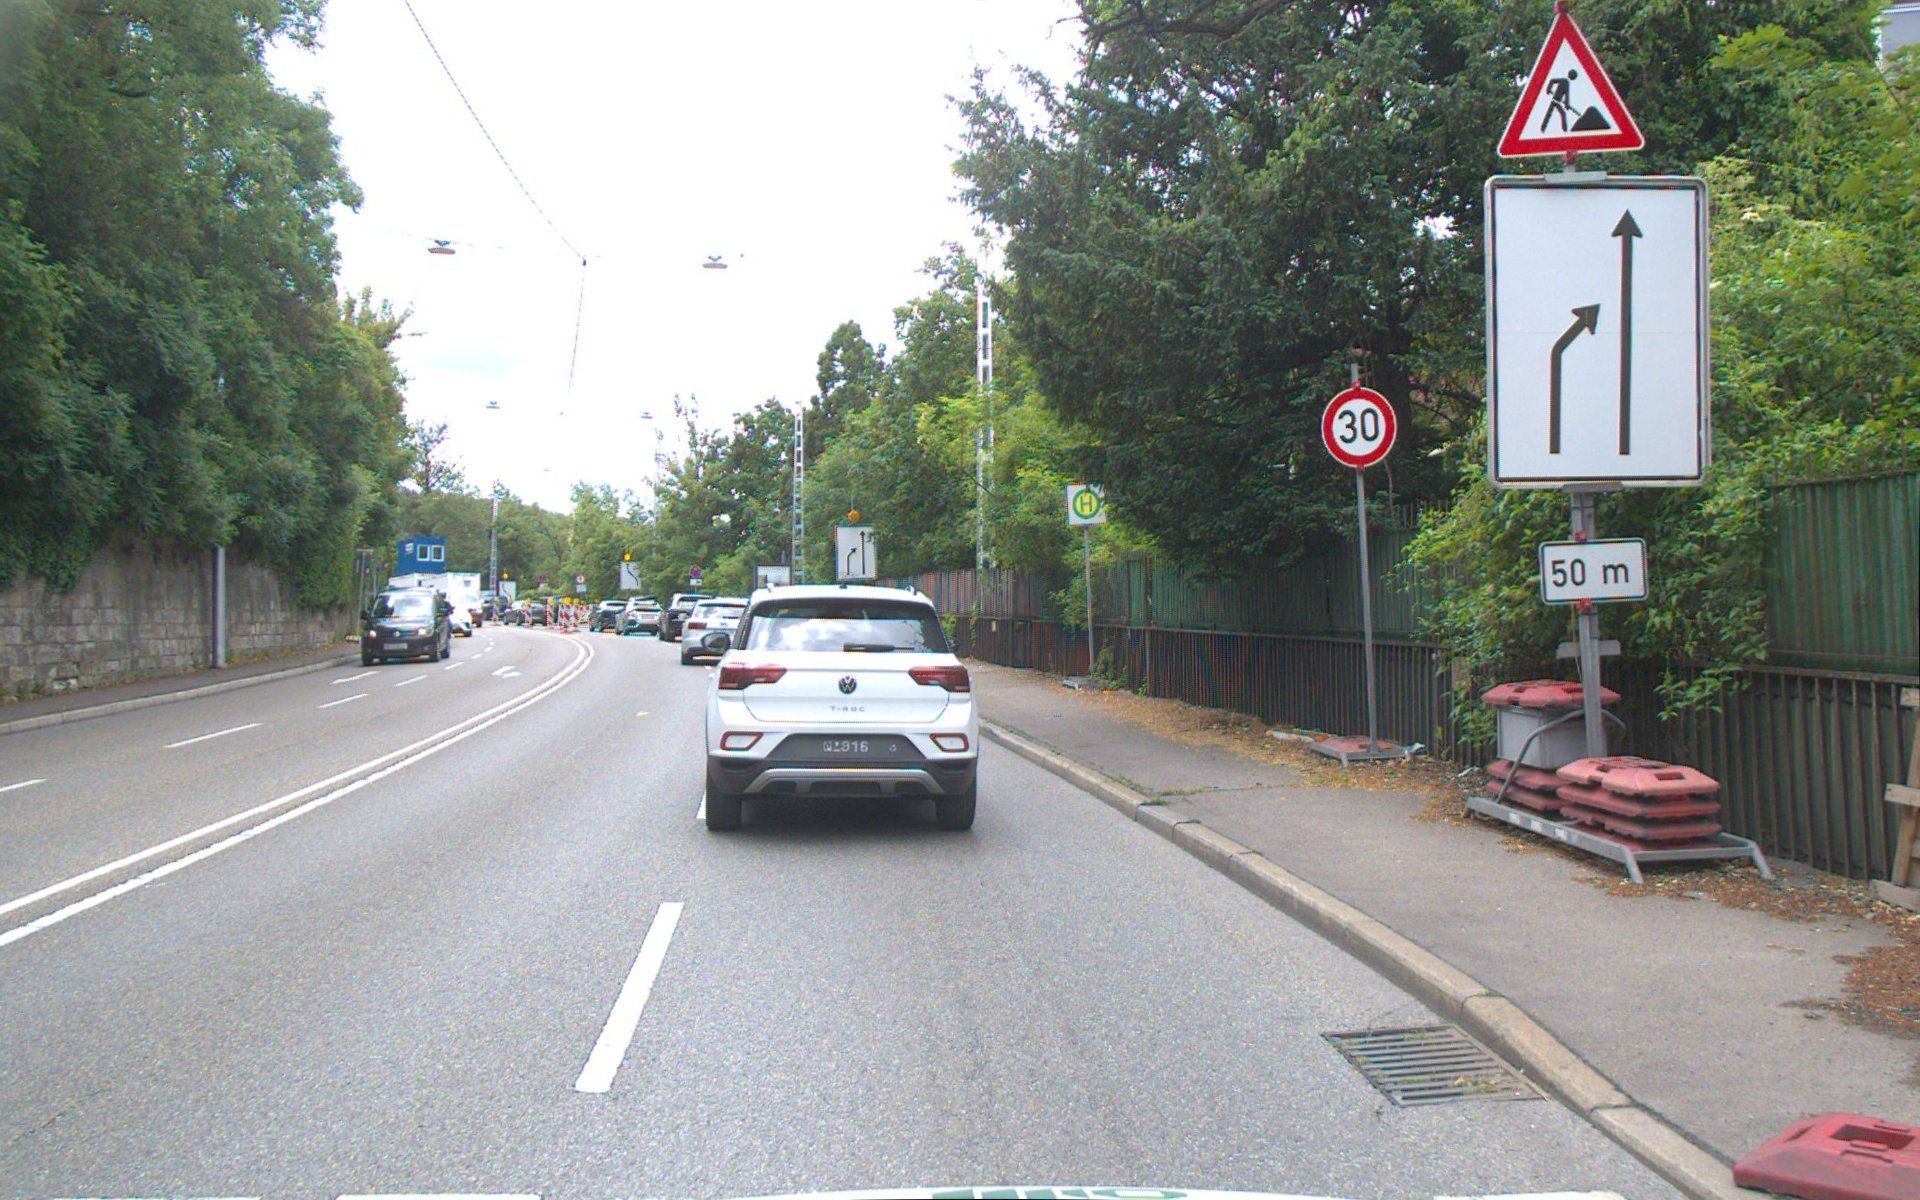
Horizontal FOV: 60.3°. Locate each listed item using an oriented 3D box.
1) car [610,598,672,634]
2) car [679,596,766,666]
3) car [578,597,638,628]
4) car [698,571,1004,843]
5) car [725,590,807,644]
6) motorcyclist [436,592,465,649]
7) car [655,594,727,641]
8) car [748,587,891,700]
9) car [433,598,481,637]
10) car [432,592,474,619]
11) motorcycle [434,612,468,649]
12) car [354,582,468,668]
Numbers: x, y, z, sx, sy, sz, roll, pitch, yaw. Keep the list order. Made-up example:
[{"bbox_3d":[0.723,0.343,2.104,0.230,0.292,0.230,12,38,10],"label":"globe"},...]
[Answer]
[{"bbox_3d":[-13.580,0.689,70.159,1.964,1.475,4.125,0,-1,-20],"label":"car"},{"bbox_3d":[-5.520,0.703,38.070,1.727,1.497,3.784,1,-1,-12],"label":"car"},{"bbox_3d":[-16.982,0.621,79.666,1.968,1.475,4.117,0,-1,-25],"label":"car"},{"bbox_3d":[-0.923,0.654,11.635,1.726,1.583,3.786,1,-1,-10],"label":"car"},{"bbox_3d":[-5.632,0.505,47.591,1.959,1.439,4.137,-1,-1,-12],"label":"car"},{"bbox_3d":[-15.988,0.624,51.935,0.636,1.735,1.335,-2,0,-9],"label":"motorcyclist"},{"bbox_3d":[-9.425,0.593,57.710,1.962,1.583,4.131,1,0,-17],"label":"car"},{"bbox_3d":[-2.289,0.656,26.149,1.727,1.638,3.782,1,-1,-13],"label":"car"},{"bbox_3d":[-20.551,0.715,67.614,1.754,1.492,4.082,-2,0,-17],"label":"car"},{"bbox_3d":[-33.951,0.367,110.727,1.821,1.729,3.960,0,0,-30],"label":"car"},{"bbox_3d":[-16.022,0.944,52.105,0.638,1.092,2.303,-2,0,-8],"label":"motorcycle"},{"bbox_3d":[-13.264,0.566,40.174,1.710,1.878,4.243,-3,0,-7],"label":"car"}]
